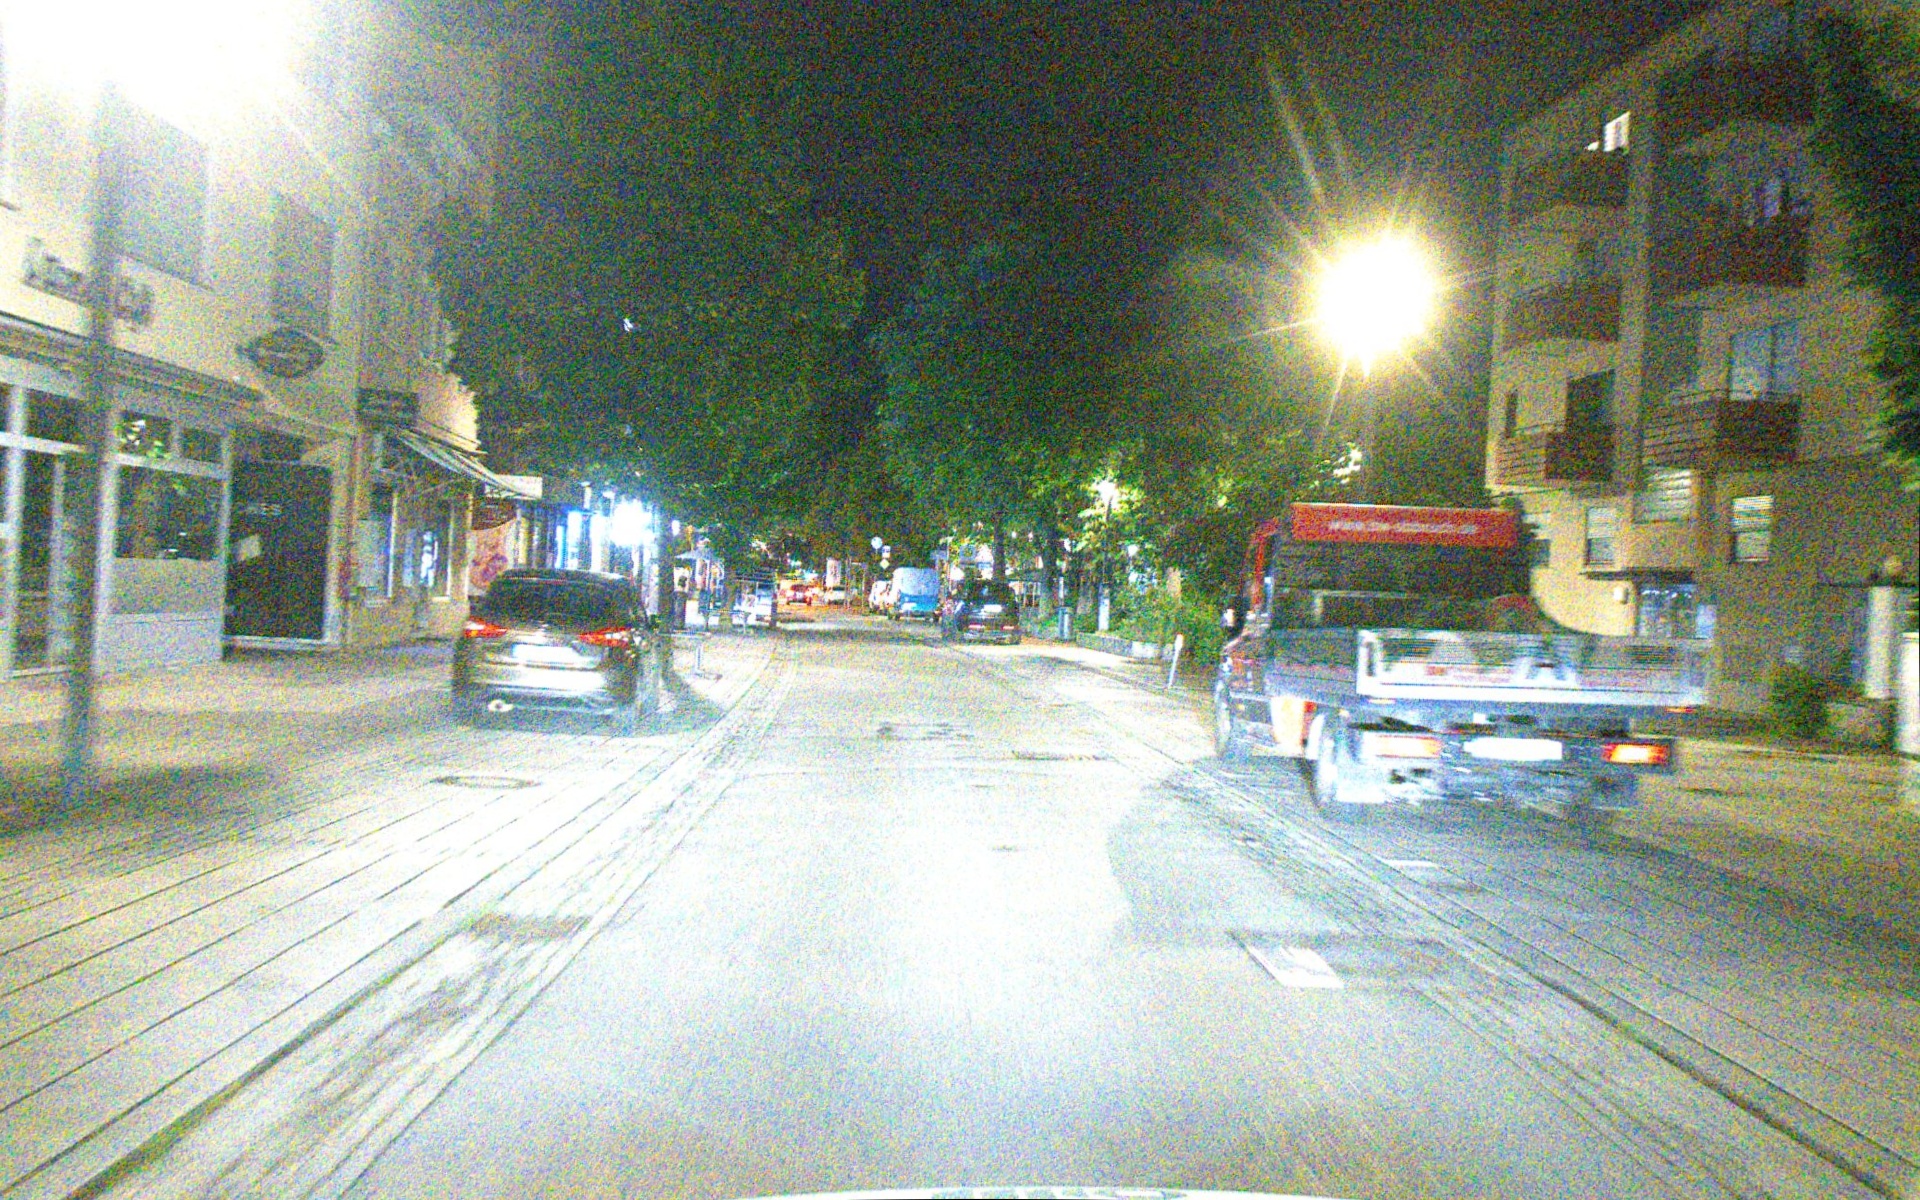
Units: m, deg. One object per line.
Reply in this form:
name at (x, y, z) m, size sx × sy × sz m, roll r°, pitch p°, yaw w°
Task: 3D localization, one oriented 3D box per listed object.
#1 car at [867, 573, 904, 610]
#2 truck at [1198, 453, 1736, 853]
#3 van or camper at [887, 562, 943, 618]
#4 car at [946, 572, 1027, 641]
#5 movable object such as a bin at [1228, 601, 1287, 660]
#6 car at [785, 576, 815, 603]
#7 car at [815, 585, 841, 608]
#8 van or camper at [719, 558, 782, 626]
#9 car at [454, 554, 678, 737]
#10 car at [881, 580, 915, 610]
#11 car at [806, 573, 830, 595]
car at (-4.225, -0.478, 93.004) m, size 1.804 × 1.934 × 3.841 m, roll 2°, pitch 0°, yaw -6°
truck at (3.507, 0.307, 12.960) m, size 2.289 × 2.352 × 5.779 m, roll 2°, pitch 0°, yaw -1°
van or camper at (-2.070, -0.462, 74.157) m, size 2.068 × 2.357 × 4.255 m, roll 1°, pitch 0°, yaw -7°
car at (0.724, 0.161, 48.204) m, size 1.780 × 1.860 × 4.341 m, roll 2°, pitch 0°, yaw -6°
movable object such as a bin at (7.223, 0.729, 40.209) m, size 1.084 × 1.329 × 1.008 m, roll 4°, pitch 0°, yaw -8°
car at (-11.630, -0.744, 119.776) m, size 1.956 × 1.855 × 3.993 m, roll 3°, pitch 0°, yaw -8°
car at (-9.600, -0.265, 120.057) m, size 1.804 × 1.569 × 3.841 m, roll 2°, pitch 0°, yaw -6°
van or camper at (-6.906, -0.278, 54.654) m, size 1.831 × 2.045 × 4.255 m, roll 4°, pitch 0°, yaw -7°
car at (-3.935, 0.401, 17.132) m, size 1.641 × 1.570 × 4.225 m, roll 4°, pitch 0°, yaw -6°
car at (-3.291, -0.268, 86.945) m, size 1.501 × 1.443 × 3.841 m, roll 2°, pitch 0°, yaw -6°
car at (-13.083, -1.475, 152.318) m, size 1.956 × 1.855 × 3.994 m, roll 3°, pitch 0°, yaw -7°
